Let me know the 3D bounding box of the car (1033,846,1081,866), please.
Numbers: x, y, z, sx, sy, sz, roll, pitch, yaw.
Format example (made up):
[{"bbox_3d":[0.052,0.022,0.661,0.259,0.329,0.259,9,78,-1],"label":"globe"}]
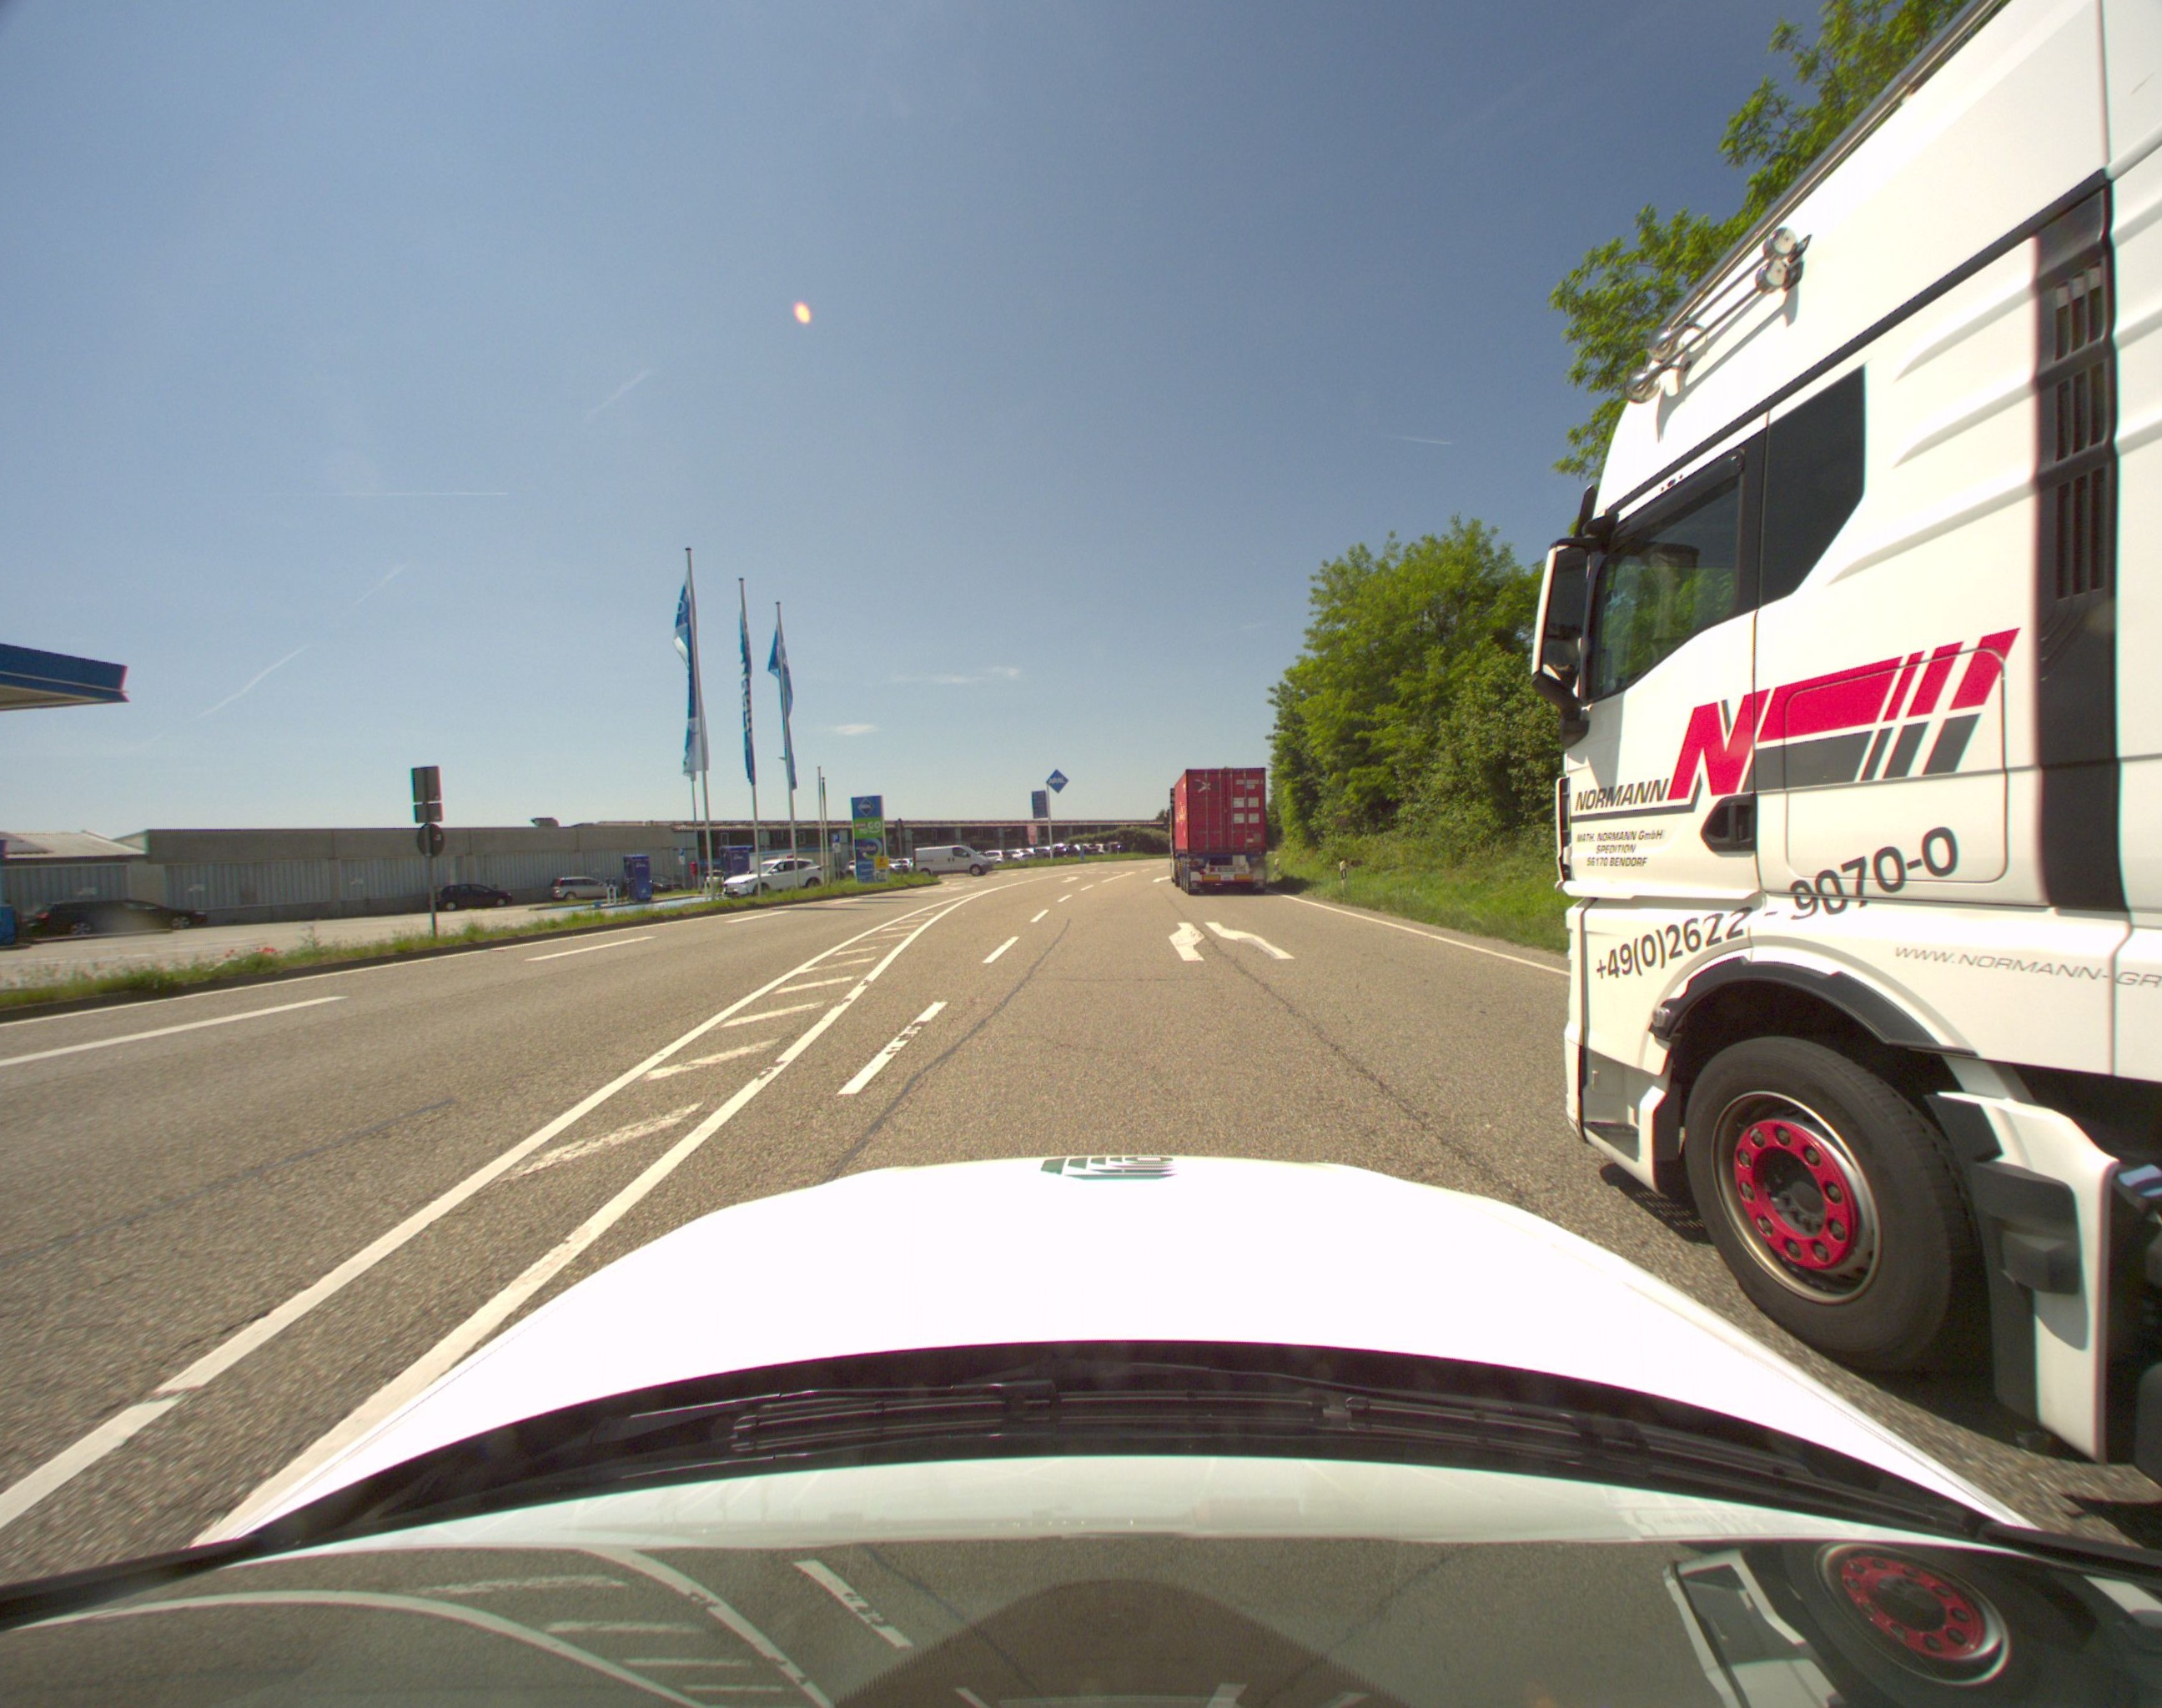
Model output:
[{"bbox_3d":[-2.270,0.189,76.583,3.948,1.750,2.012,-2,-1,30],"label":"car"}]

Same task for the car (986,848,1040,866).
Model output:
[{"bbox_3d":[-5.949,0.291,70.983,4.196,1.359,2.012,-3,0,28],"label":"car"}]

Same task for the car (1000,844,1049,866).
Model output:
[{"bbox_3d":[-5.088,0.086,73.408,3.948,1.750,1.947,-3,0,30],"label":"car"}]

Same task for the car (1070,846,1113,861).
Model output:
[{"bbox_3d":[1.089,-0.030,84.640,3.949,1.317,1.845,-4,0,27],"label":"car"}]

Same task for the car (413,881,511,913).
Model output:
[{"bbox_3d":[-34.363,2.370,45.313,1.737,1.442,3.925,-3,0,33],"label":"car"}]

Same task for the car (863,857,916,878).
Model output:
[{"bbox_3d":[-16.816,1.168,71.581,4.084,1.503,2.012,-4,0,28],"label":"car"}]

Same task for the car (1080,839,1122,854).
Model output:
[{"bbox_3d":[2.097,-0.775,86.554,3.949,1.362,1.831,-4,0,27],"label":"car"}]

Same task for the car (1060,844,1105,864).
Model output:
[{"bbox_3d":[0.139,-0.028,82.416,3.948,1.750,2.013,-4,0,30],"label":"car"}]

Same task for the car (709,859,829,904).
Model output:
[{"bbox_3d":[-13.286,1.130,34.949,1.844,1.712,4.548,-2,-1,34],"label":"car"}]

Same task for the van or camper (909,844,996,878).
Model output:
[{"bbox_3d":[-7.817,0.423,49.751,4.826,1.905,1.906,-2,-1,4],"label":"van or camper"}]

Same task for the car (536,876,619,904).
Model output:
[{"bbox_3d":[-31.249,2.193,50.626,1.737,1.442,3.925,-3,0,34],"label":"car"}]

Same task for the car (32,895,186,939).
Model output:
[{"bbox_3d":[-40.481,2.572,34.011,1.737,1.442,3.925,-3,0,33],"label":"car"}]

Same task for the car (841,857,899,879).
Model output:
[{"bbox_3d":[-18.053,1.191,69.723,4.535,1.503,2.012,-4,0,28],"label":"car"}]

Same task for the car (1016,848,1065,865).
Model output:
[{"bbox_3d":[-3.770,0.235,75.177,3.948,1.332,2.013,-4,0,30],"label":"car"}]

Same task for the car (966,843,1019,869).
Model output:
[{"bbox_3d":[-7.490,0.147,68.952,3.949,2.013,2.012,-3,0,28],"label":"car"}]

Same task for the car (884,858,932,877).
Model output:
[{"bbox_3d":[-15.694,1.246,73.863,3.949,1.582,1.829,-3,-1,29],"label":"car"}]

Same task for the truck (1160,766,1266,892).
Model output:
[{"bbox_3d":[4.650,-0.851,31.324,2.636,3.806,13.371,0,1,3],"label":"truck"}]
